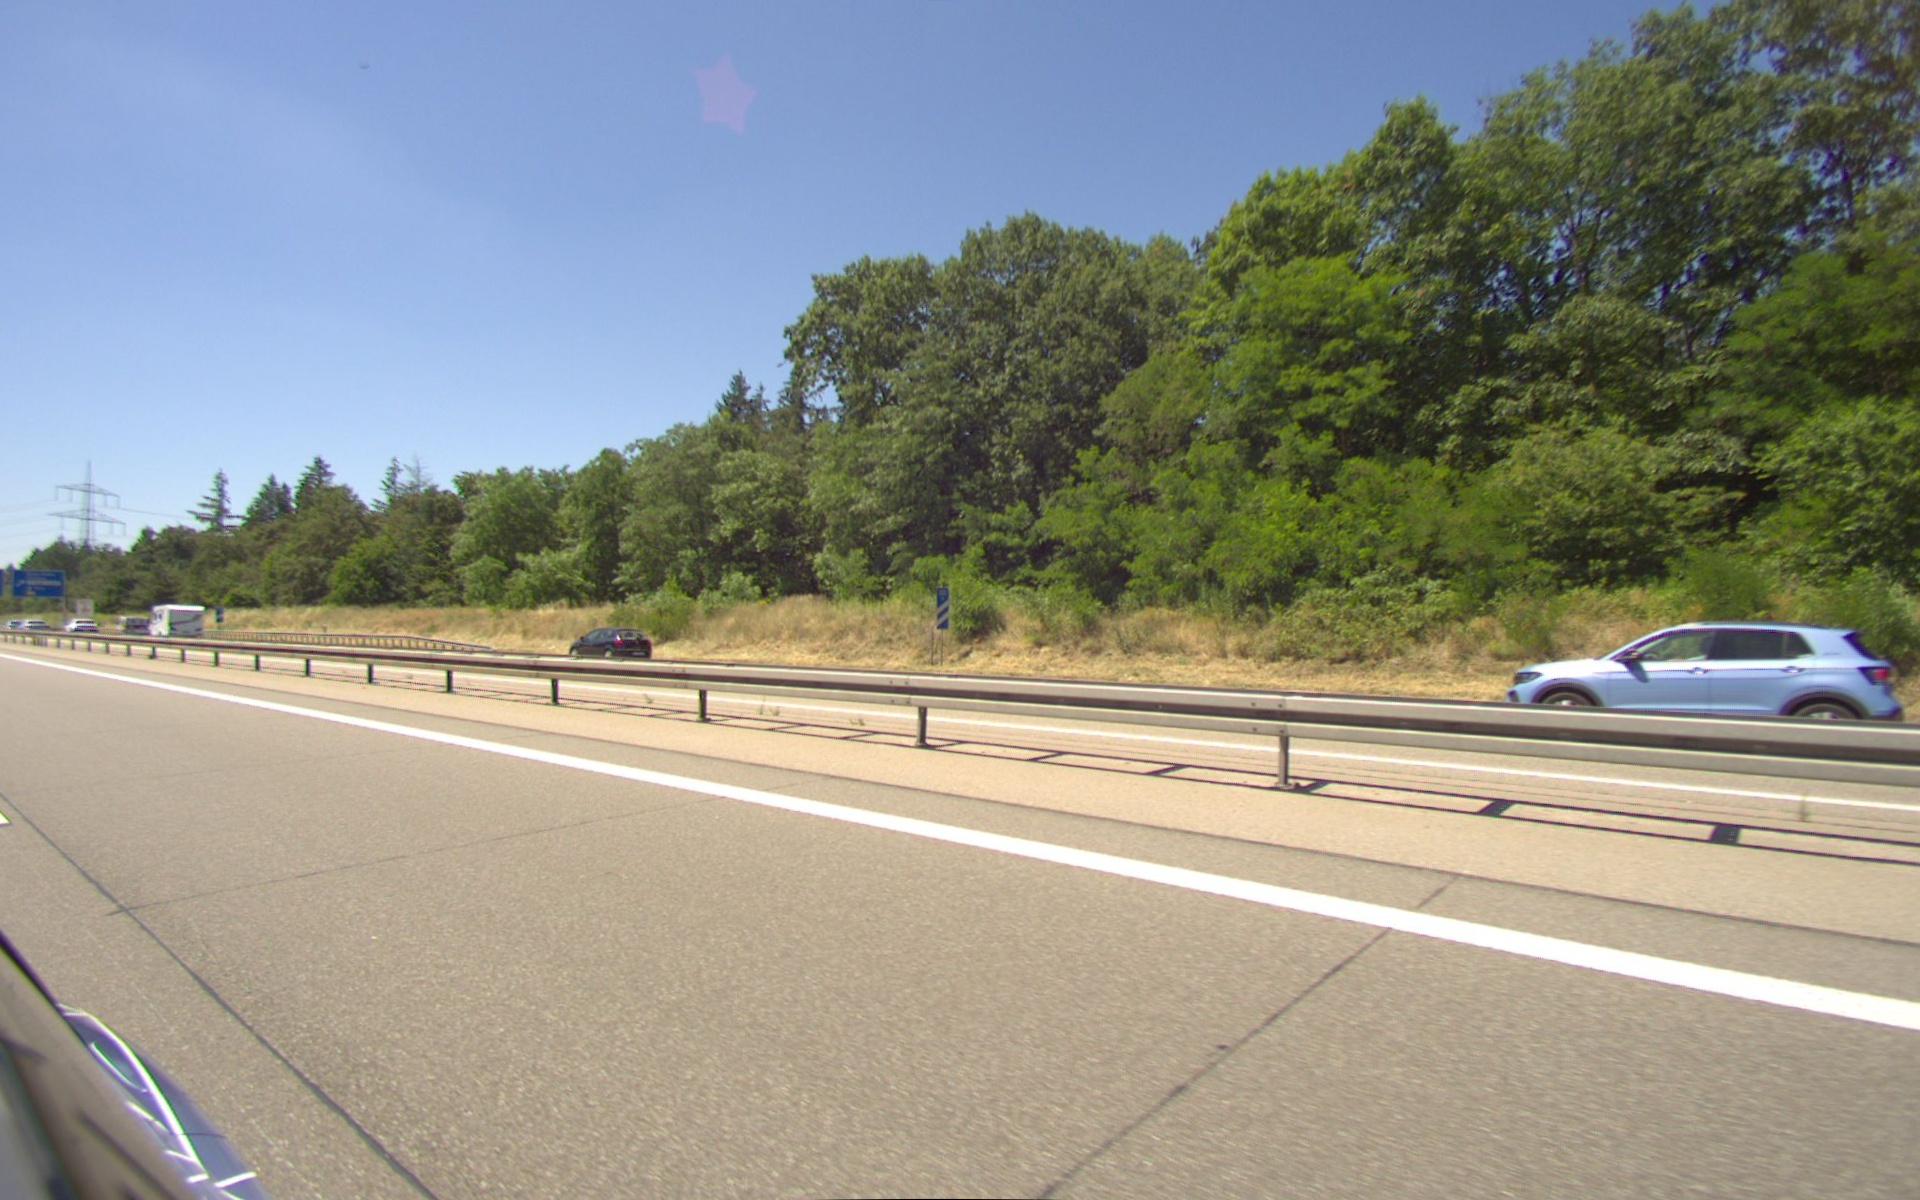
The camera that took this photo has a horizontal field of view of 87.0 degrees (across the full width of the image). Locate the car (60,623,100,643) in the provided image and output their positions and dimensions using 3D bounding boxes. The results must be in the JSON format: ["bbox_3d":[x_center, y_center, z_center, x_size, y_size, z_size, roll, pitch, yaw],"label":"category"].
[{"bbox_3d":[-78.963,2.918,90.751,5.242,1.707,1.972,-1,-4,41],"label":"car"}]

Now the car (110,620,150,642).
[{"bbox_3d":[-78.352,2.908,95.497,5.242,1.968,1.972,-1,-4,41],"label":"car"}]

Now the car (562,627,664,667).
[{"bbox_3d":[-13.167,1.769,38.304,4.109,1.406,1.795,-1,-4,41],"label":"car"}]

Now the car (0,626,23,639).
[{"bbox_3d":[-113.984,3.875,121.368,5.202,1.539,1.832,-1,-2,41],"label":"car"}]

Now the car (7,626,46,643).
[{"bbox_3d":[-76.173,2.808,82.585,4.350,1.383,1.817,-1,-4,41],"label":"car"}]

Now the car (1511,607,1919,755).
[{"bbox_3d":[9.636,0.939,12.650,4.526,1.580,1.972,-1,-4,41],"label":"car"}]

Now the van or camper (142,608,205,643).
[{"bbox_3d":[-62.309,2.012,80.106,7.766,2.595,2.436,-1,-4,41],"label":"van or camper"}]
